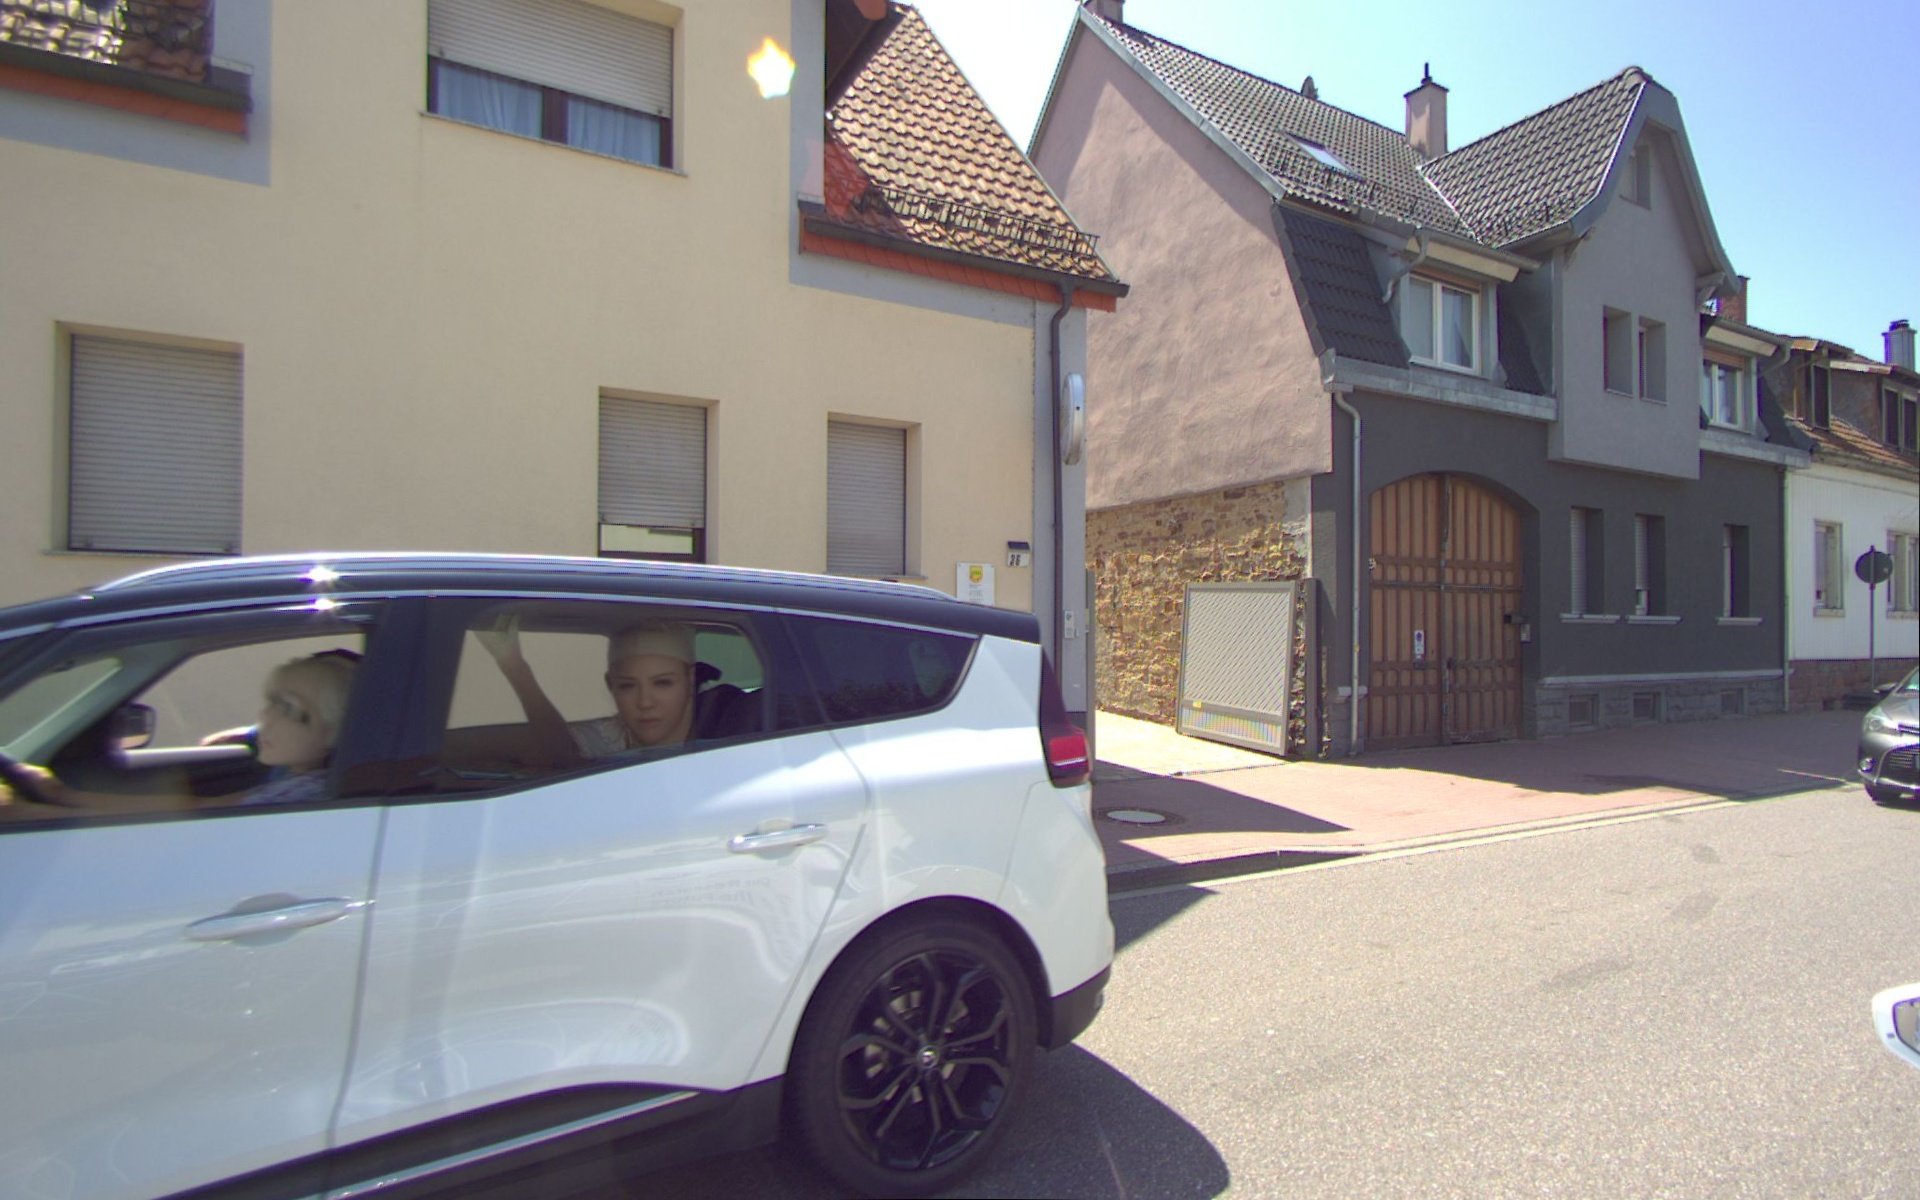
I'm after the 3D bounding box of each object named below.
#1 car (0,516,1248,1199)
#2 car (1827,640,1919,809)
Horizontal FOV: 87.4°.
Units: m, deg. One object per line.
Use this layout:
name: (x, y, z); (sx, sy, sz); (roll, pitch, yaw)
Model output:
car: (-1.449, 0.735, 2.823); (4.380, 1.624, 1.865); (2, -3, -31)
car: (10.191, 1.131, 9.611); (3.882, 1.478, 1.669); (2, -3, -30)
